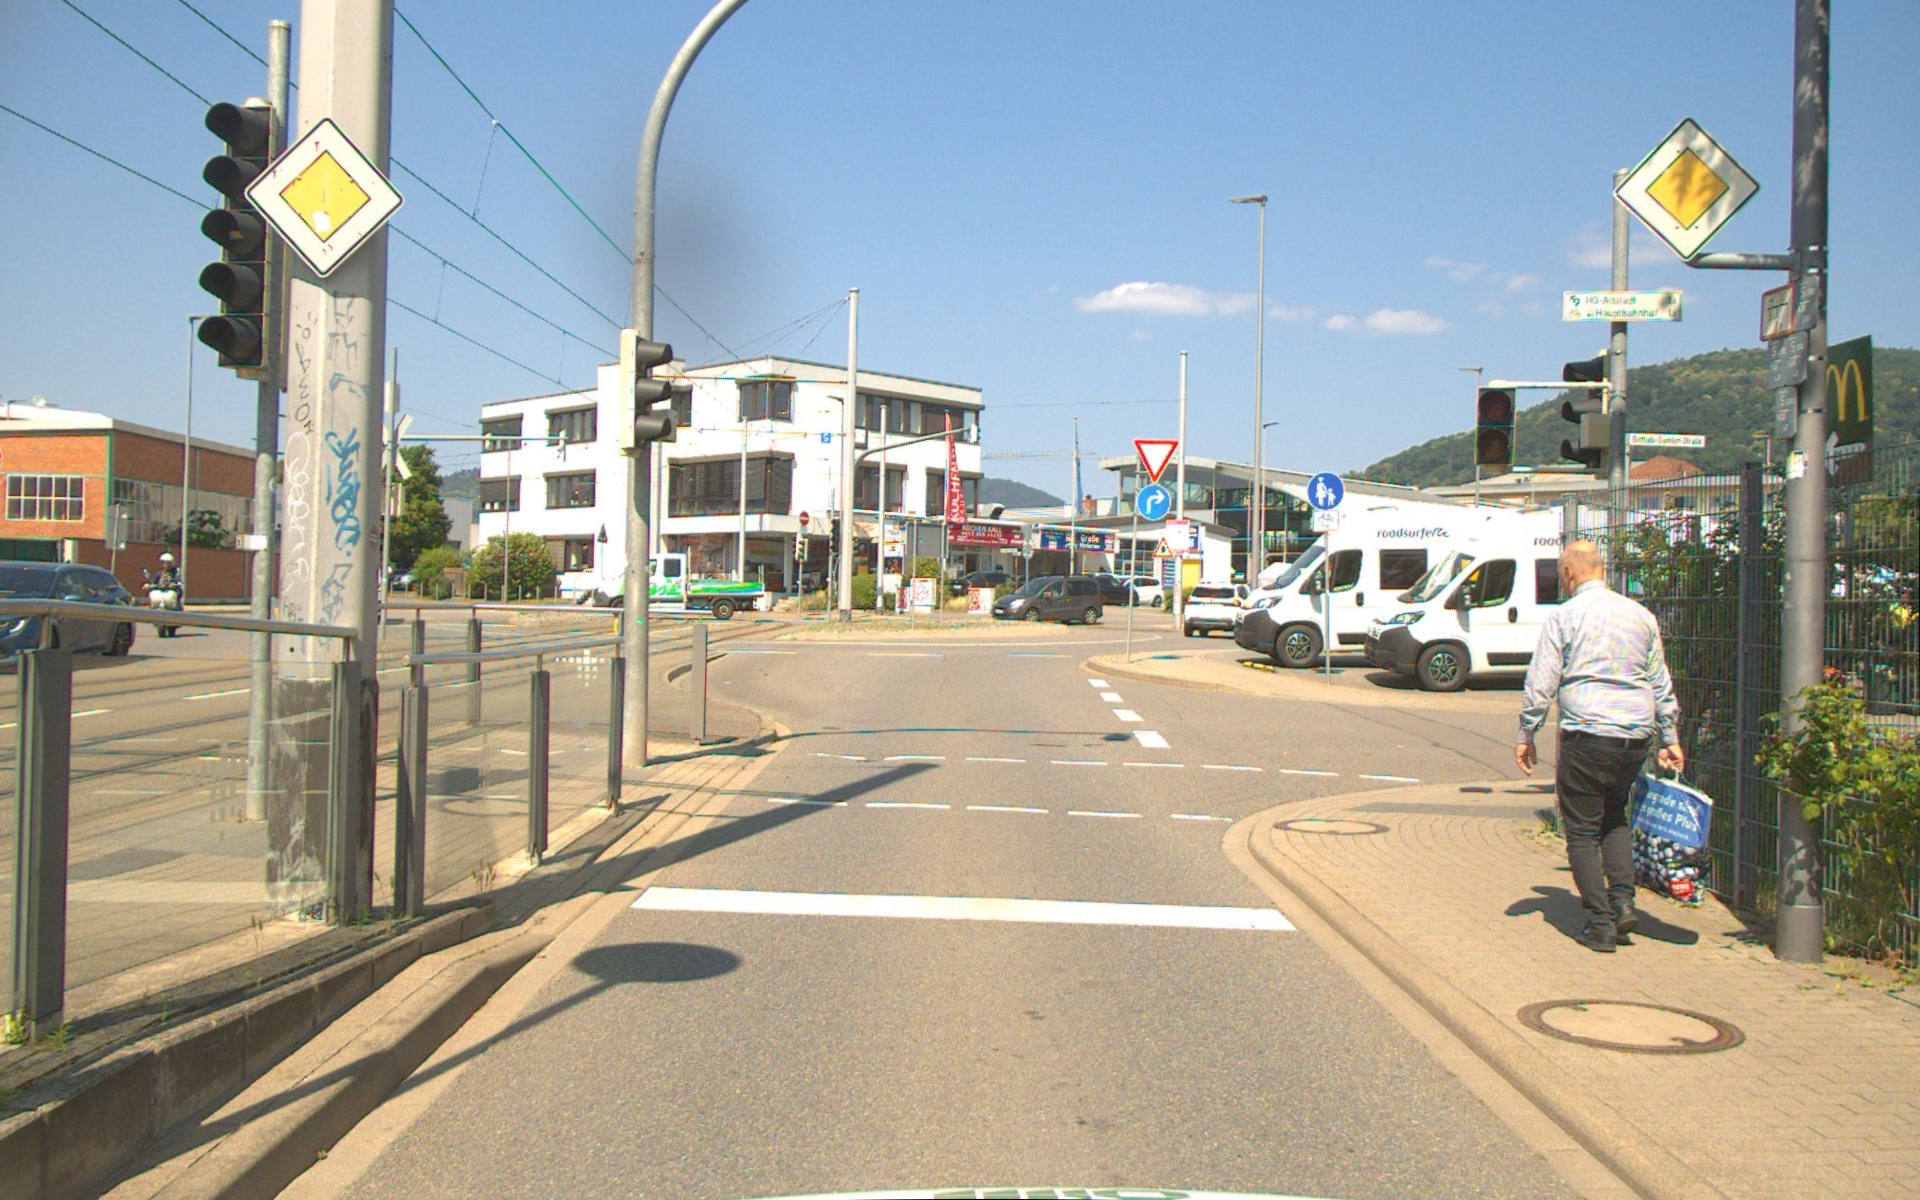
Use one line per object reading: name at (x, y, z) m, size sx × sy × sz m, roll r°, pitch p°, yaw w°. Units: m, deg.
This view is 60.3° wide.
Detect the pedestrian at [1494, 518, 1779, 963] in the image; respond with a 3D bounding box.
pedestrian at (2.781, 0.545, 6.894) m, size 0.796 × 1.729 × 0.887 m, roll 0°, pitch 0°, yaw -2°

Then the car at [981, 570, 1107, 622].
car at (3.159, -0.146, 61.913) m, size 4.351 × 1.850 × 1.969 m, roll 1°, pitch 0°, yaw -32°

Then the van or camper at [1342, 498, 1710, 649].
van or camper at (11.726, -0.532, 34.635) m, size 6.917 × 2.998 × 2.335 m, roll 0°, pitch 0°, yaw 0°

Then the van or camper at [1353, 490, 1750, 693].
van or camper at (9.071, -0.180, 25.780) m, size 5.391 × 2.862 × 2.049 m, roll 2°, pitch 2°, yaw 4°

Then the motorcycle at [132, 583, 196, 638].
motorcycle at (-15.899, 0.198, 33.075) m, size 0.809 × 1.029 × 1.955 m, roll 1°, pitch 0°, yaw -16°

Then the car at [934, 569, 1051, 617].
car at (1.458, -0.297, 72.331) m, size 5.238 × 2.000 × 1.935 m, roll 1°, pitch 0°, yaw -43°

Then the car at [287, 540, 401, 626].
car at (-15.749, -0.441, 42.535) m, size 2.125 × 2.049 × 5.000 m, roll 1°, pitch 0°, yaw -14°

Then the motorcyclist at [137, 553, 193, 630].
motorcyclist at (-15.870, -0.169, 33.036) m, size 0.822 × 1.501 × 0.958 m, roll 1°, pitch 0°, yaw -17°

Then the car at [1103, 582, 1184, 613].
car at (9.894, -0.119, 88.902) m, size 1.853 × 1.616 × 4.897 m, roll -1°, pitch -1°, yaw 42°

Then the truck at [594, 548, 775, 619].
truck at (-9.875, -0.585, 59.518) m, size 6.252 × 2.378 × 2.205 m, roll 1°, pitch 0°, yaw -10°

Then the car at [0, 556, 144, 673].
car at (-13.166, 0.132, 23.062) m, size 1.871 × 1.467 × 4.586 m, roll 1°, pitch 1°, yaw -9°

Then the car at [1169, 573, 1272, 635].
car at (7.907, 0.116, 49.891) m, size 1.953 × 1.763 × 4.562 m, roll 0°, pitch 0°, yaw 24°

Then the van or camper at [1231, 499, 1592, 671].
van or camper at (7.715, -0.280, 28.732) m, size 5.689 × 2.822 × 2.092 m, roll 1°, pitch 1°, yaw 2°
